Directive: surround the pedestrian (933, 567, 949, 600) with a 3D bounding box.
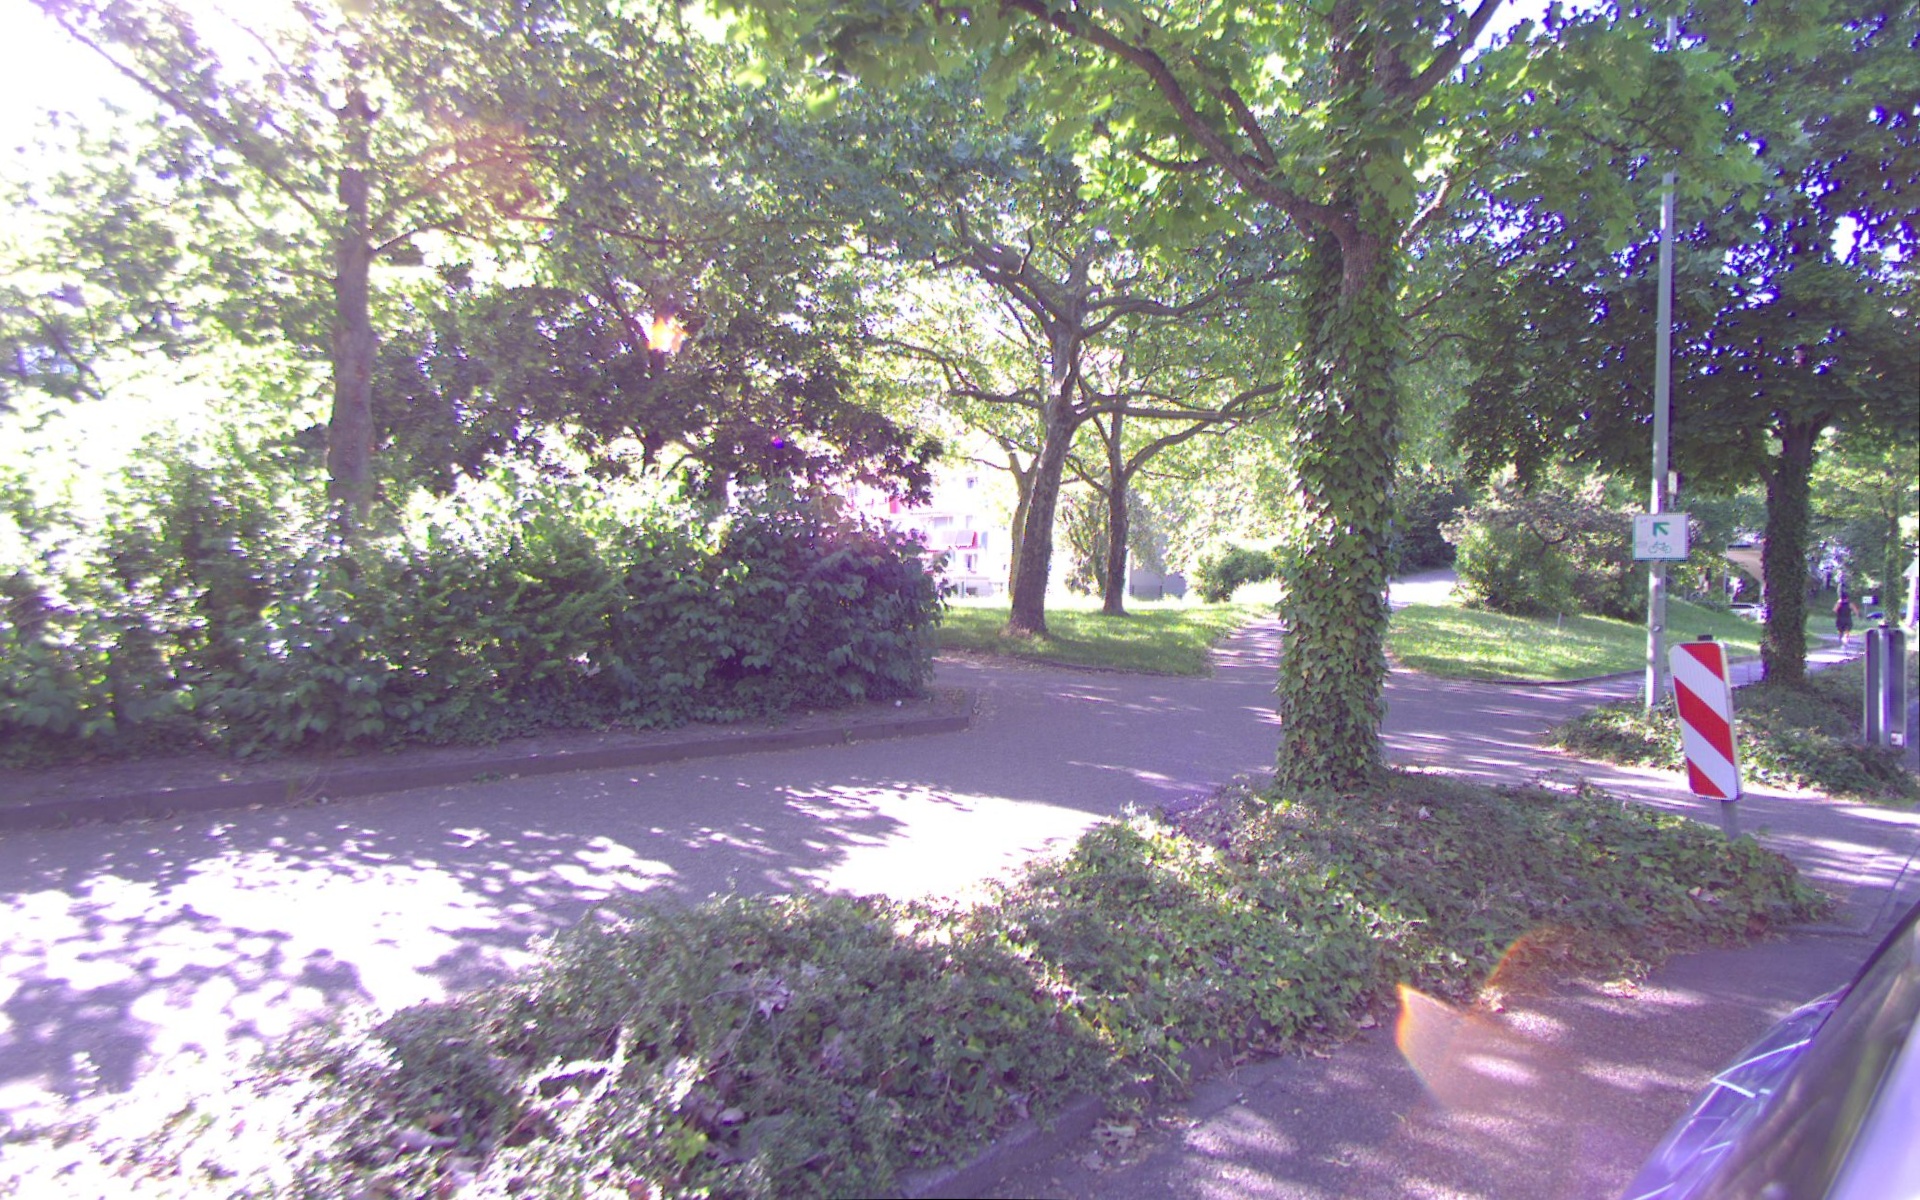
[{"bbox_3d":[-0.938,-0.823,50.421,0.618,1.609,0.676,-1,-1,18],"label":"pedestrian"}]

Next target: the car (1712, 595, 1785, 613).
[{"bbox_3d":[58.796,0.308,75.509,1.726,1.282,4.087,0,0,-40],"label":"car"}]

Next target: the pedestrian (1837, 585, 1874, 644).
[{"bbox_3d":[28.739,0.455,32.487,0.659,1.855,0.792,1,0,-41],"label":"pedestrian"}]
